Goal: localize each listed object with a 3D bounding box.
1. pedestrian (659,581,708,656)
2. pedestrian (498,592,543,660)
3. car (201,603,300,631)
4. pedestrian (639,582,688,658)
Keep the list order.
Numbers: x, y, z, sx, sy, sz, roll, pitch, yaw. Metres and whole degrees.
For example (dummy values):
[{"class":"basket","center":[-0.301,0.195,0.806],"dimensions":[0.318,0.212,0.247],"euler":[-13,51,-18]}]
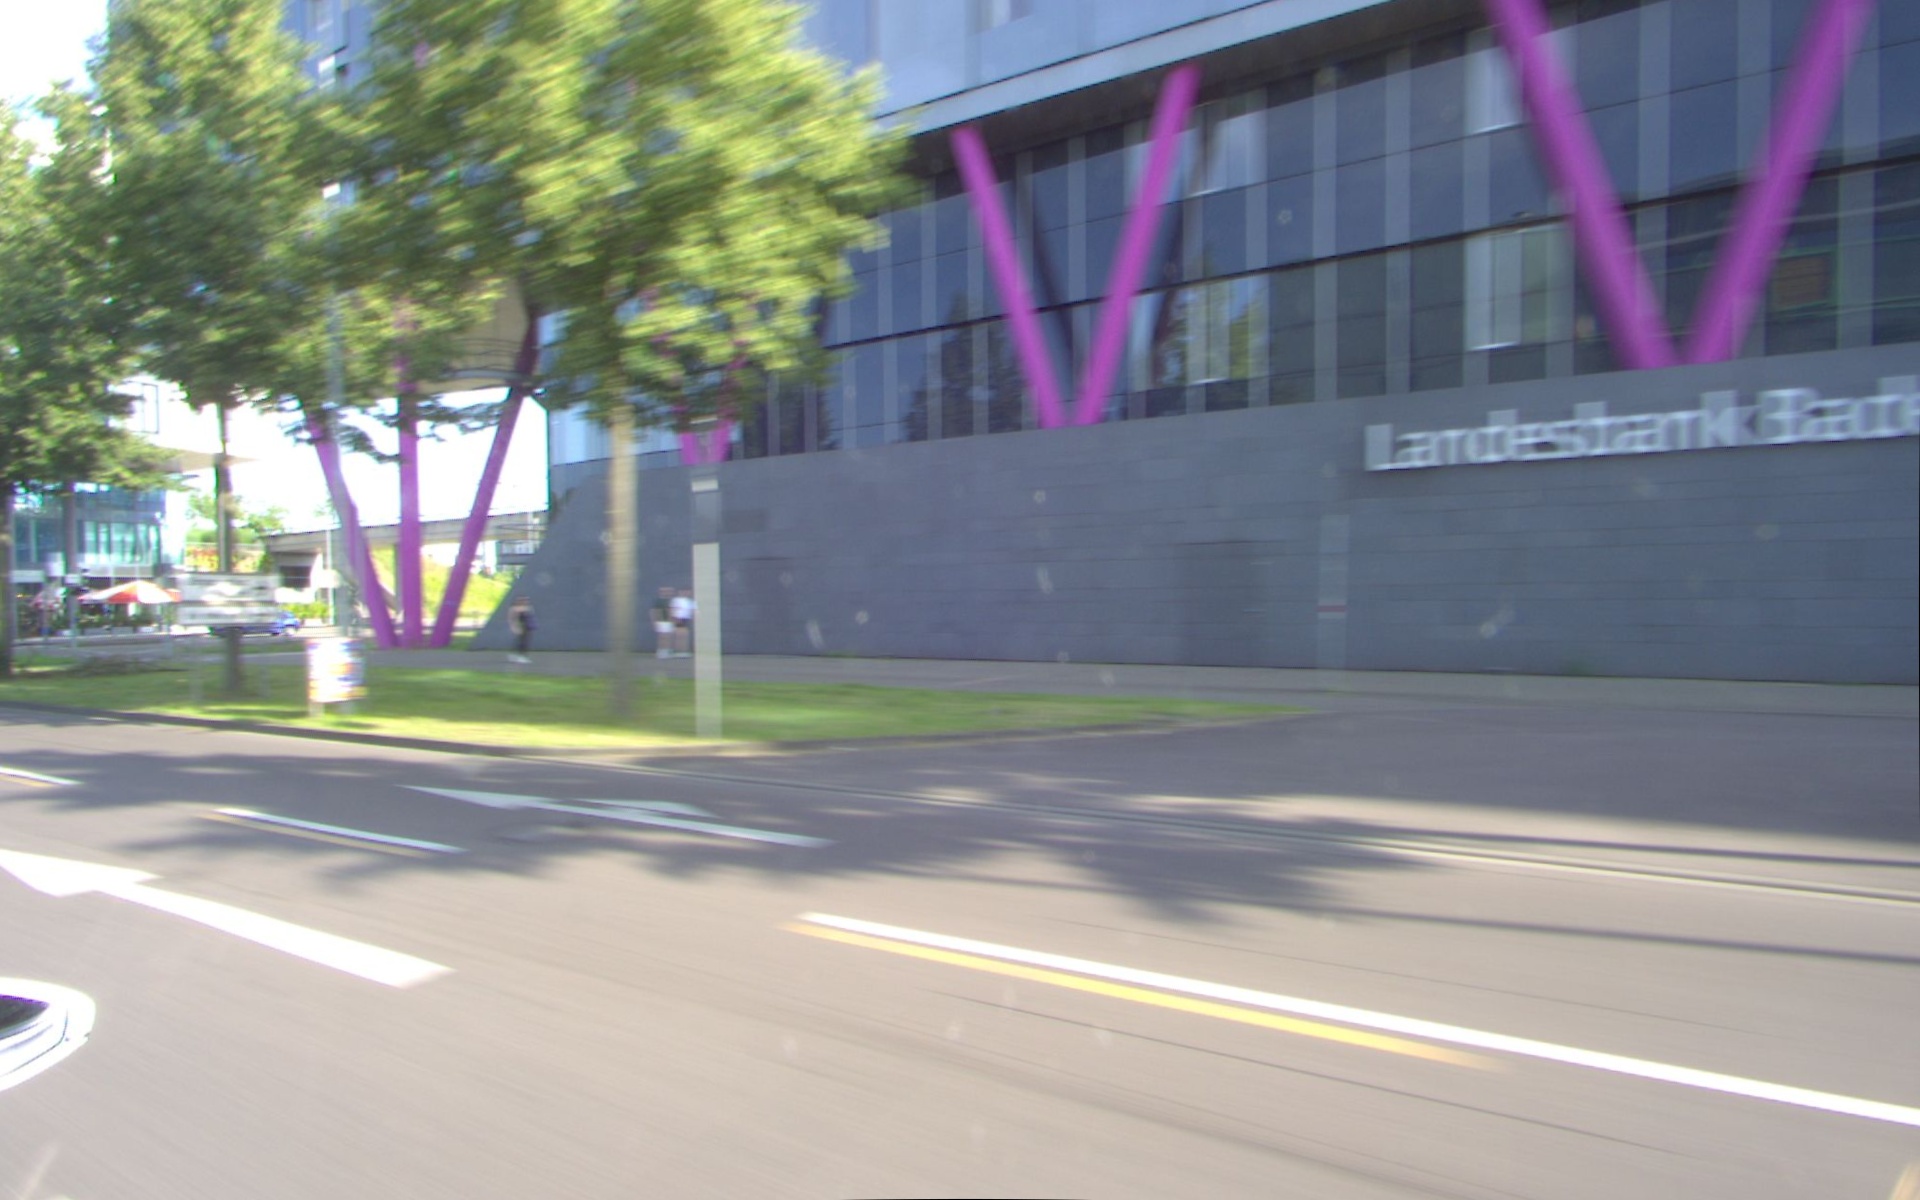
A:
[{"class":"pedestrian","center":[-6.977,0.455,25.246],"dimensions":[0.840,1.850,0.766],"euler":[0,3,29]},{"class":"pedestrian","center":[-10.988,0.642,25.038],"dimensions":[0.725,1.661,0.693],"euler":[0,3,29]},{"class":"car","center":[-40.061,0.937,56.655],"dimensions":[1.830,1.443,4.178],"euler":[0,1,29]},{"class":"pedestrian","center":[-7.323,0.491,24.737],"dimensions":[0.831,1.818,0.753],"euler":[0,3,29]}]
